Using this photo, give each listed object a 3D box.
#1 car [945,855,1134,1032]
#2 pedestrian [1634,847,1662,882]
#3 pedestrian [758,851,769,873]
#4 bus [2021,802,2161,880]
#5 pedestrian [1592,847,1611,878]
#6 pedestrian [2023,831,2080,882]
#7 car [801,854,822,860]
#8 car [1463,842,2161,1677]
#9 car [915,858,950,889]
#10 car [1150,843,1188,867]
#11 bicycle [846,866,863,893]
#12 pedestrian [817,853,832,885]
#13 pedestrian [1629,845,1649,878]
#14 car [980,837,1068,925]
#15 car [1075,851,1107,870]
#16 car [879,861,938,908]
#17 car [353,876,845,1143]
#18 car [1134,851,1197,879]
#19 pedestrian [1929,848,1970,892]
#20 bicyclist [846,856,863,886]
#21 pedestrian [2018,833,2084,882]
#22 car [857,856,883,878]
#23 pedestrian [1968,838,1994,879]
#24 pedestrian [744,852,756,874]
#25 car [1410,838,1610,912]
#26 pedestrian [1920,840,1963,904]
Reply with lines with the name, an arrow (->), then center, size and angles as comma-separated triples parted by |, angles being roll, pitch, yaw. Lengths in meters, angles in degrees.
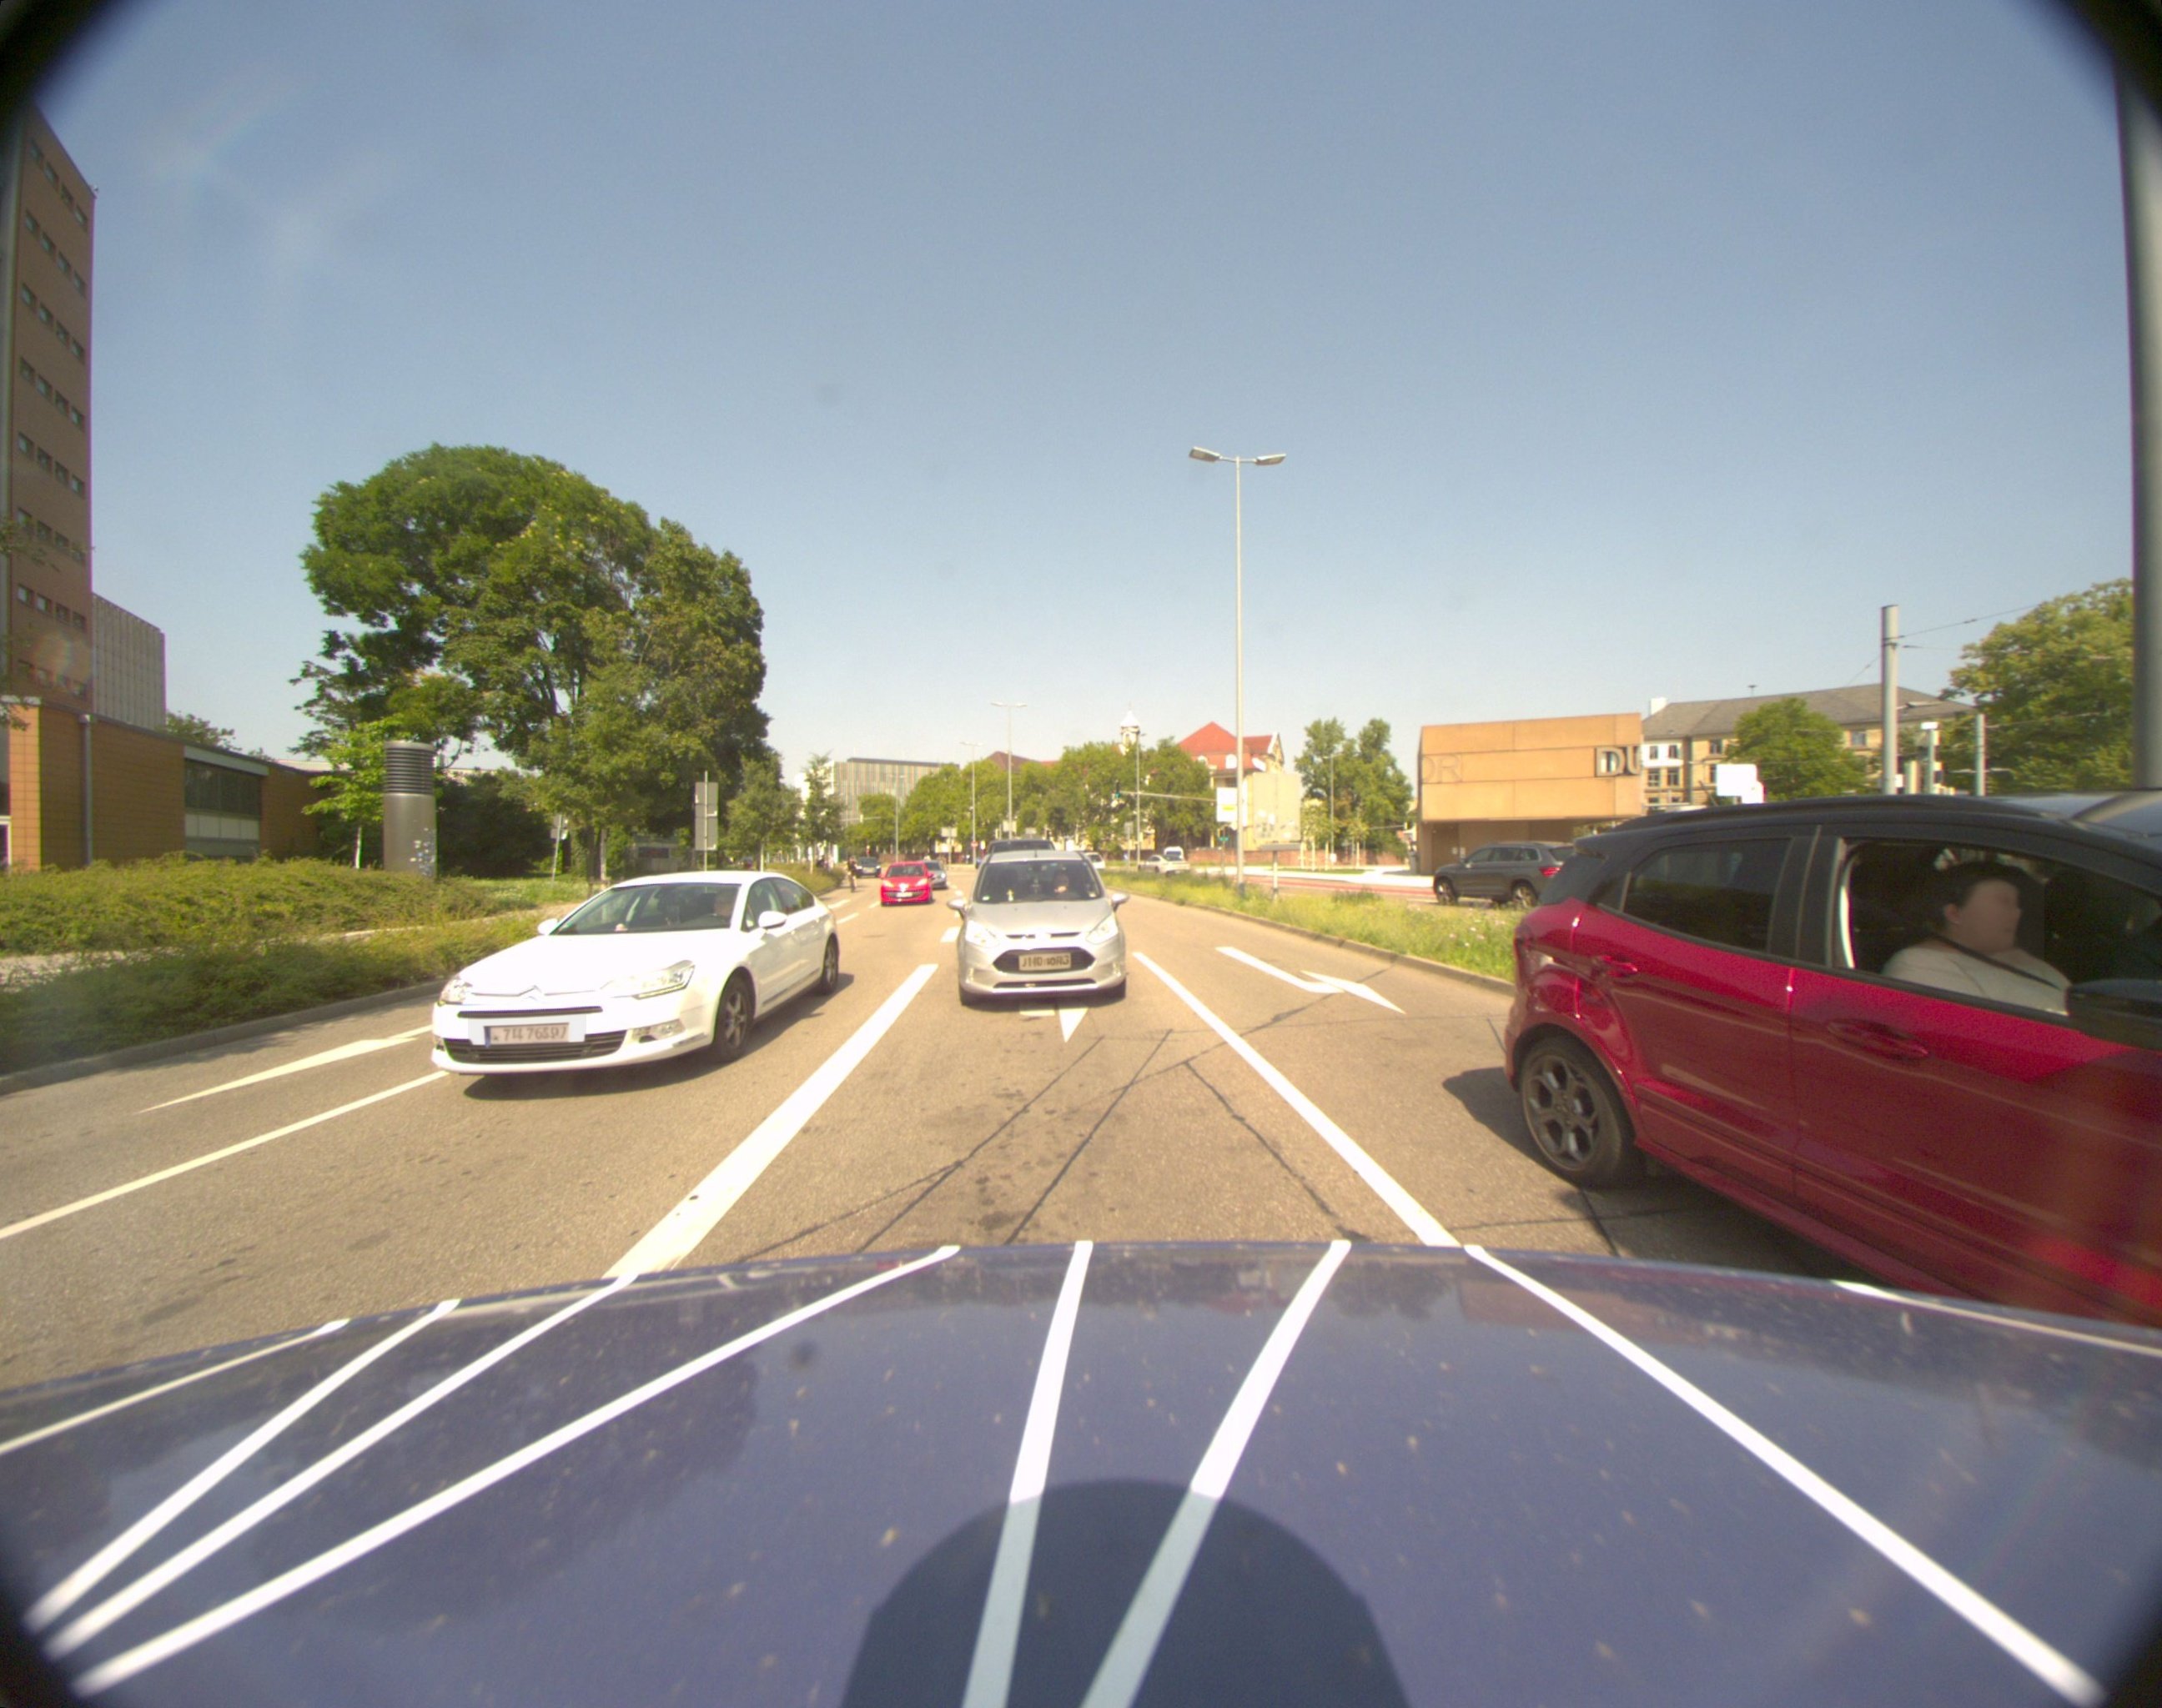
car -> -0.536, 0.815, 9.187 | 1.659, 1.521, 4.531 | -2, 0, -4
pedestrian -> 24.612, 0.446, 32.970 | 0.771, 1.488, 0.606 | 0, 1, -6
pedestrian -> -19.428, 0.496, 46.513 | 0.577, 1.291, 0.436 | -3, 2, -22
bus -> 39.467, -0.476, 26.378 | 3.397, 2.697, 12.364 | 0, 0, 24
pedestrian -> 25.029, 0.422, 36.562 | 0.539, 1.488, 0.541 | 0, 1, -6
pedestrian -> 34.699, 0.086, 27.182 | 0.927, 1.812, 0.939 | 0, 1, 24
car -> -64.171, 0.705, 181.034 | 4.430, 1.380, 1.766 | -2, 1, -41
car -> 2.889, 0.780, 1.894 | 1.695, 1.577, 3.843 | -2, 0, -4
car -> -7.179, 0.914, 36.799 | 1.565, 1.387, 3.246 | -1, 0, -11
car -> 7.066, 0.044, 61.587 | 1.870, 1.843, 3.910 | -1, 1, -13
bicycle -> -10.762, 1.191, 36.140 | 0.595, 1.162, 2.233 | -1, 0, -13
pedestrian -> -15.577, 0.908, 46.100 | 0.824, 1.892, 0.630 | -1, 1, -17
pedestrian -> 26.097, 0.348, 35.550 | 0.539, 1.488, 0.541 | 0, 1, -6
car -> -1.513, 0.589, 19.206 | 1.891, 1.908, 4.530 | -2, 0, -6
car -> 0.754, 0.511, 60.289 | 1.528, 1.470, 3.472 | -1, 0, -18
car -> -5.922, 0.997, 26.386 | 1.651, 1.422, 3.813 | -2, 0, -8
car -> -3.602, 1.000, 6.888 | 1.774, 1.420, 4.607 | 0, 0, -4
car -> 5.012, 0.642, 45.746 | 2.001, 1.576, 4.708 | -1, 0, -17
pedestrian -> 23.149, 0.421, 20.268 | 0.600, 1.119, 0.639 | -1, 2, 38
bicyclist -> -10.760, 0.787, 36.113 | 0.680, 1.392, 1.048 | -1, 1, -13
pedestrian -> 34.728, 0.126, 27.223 | 1.076, 1.686, 1.066 | 0, 1, 24
car -> -16.364, 0.984, 59.009 | 1.812, 1.652, 3.995 | 0, 0, -14
pedestrian -> 40.591, 0.188, 34.258 | 0.602, 1.801, 0.637 | -3, 2, -30
pedestrian -> -20.119, 0.533, 46.195 | 0.635, 1.291, 0.486 | -3, 2, -22
car -> 10.443, 0.449, 18.966 | 1.772, 1.590, 4.538 | -1, 0, -13
pedestrian -> 23.470, 0.481, 20.734 | 0.691, 1.701, 0.537 | 0, 1, 37
